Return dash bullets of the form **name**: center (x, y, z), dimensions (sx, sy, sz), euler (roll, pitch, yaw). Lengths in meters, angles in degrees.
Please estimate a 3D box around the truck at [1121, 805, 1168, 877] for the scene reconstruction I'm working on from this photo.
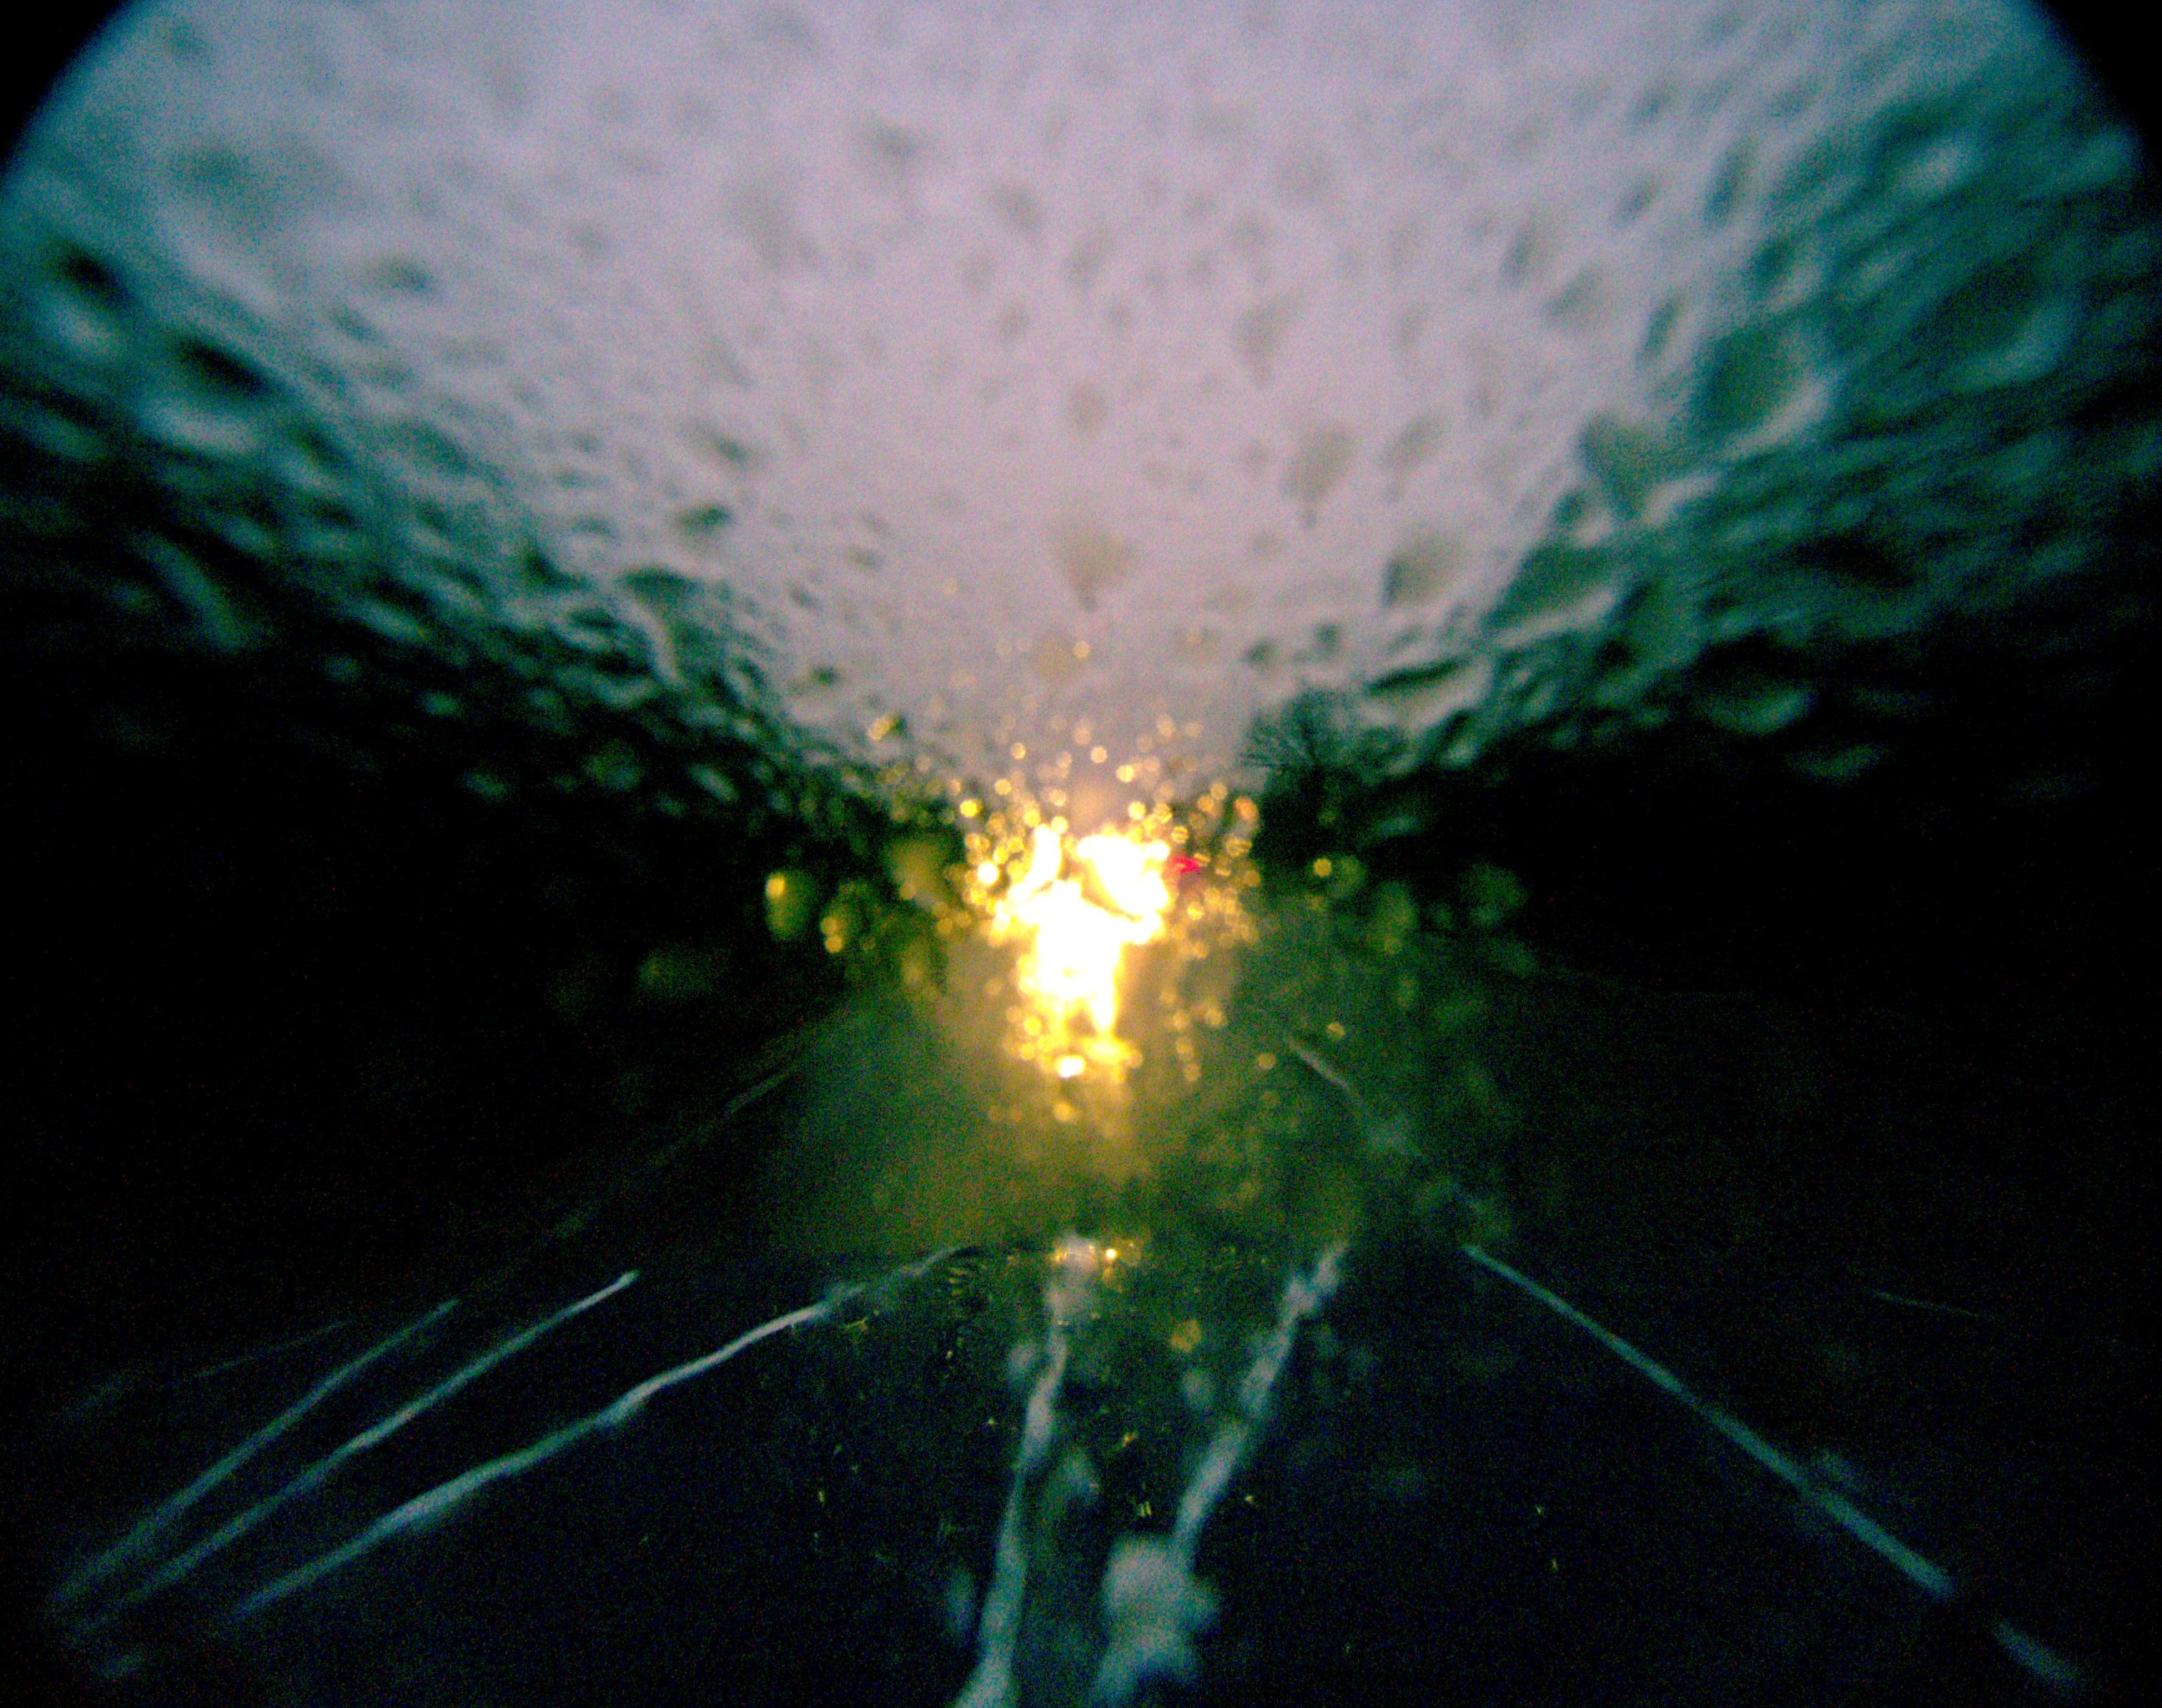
- **truck**: center (4.145, -0.837, 50.506), dimensions (2.648, 4.391, 5.553), euler (-2, 1, 1)

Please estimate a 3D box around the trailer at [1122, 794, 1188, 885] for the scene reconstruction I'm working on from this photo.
- **trailer**: center (4.025, -0.772, 44.107), dimensions (2.677, 4.432, 12.241), euler (-2, 1, 1)
